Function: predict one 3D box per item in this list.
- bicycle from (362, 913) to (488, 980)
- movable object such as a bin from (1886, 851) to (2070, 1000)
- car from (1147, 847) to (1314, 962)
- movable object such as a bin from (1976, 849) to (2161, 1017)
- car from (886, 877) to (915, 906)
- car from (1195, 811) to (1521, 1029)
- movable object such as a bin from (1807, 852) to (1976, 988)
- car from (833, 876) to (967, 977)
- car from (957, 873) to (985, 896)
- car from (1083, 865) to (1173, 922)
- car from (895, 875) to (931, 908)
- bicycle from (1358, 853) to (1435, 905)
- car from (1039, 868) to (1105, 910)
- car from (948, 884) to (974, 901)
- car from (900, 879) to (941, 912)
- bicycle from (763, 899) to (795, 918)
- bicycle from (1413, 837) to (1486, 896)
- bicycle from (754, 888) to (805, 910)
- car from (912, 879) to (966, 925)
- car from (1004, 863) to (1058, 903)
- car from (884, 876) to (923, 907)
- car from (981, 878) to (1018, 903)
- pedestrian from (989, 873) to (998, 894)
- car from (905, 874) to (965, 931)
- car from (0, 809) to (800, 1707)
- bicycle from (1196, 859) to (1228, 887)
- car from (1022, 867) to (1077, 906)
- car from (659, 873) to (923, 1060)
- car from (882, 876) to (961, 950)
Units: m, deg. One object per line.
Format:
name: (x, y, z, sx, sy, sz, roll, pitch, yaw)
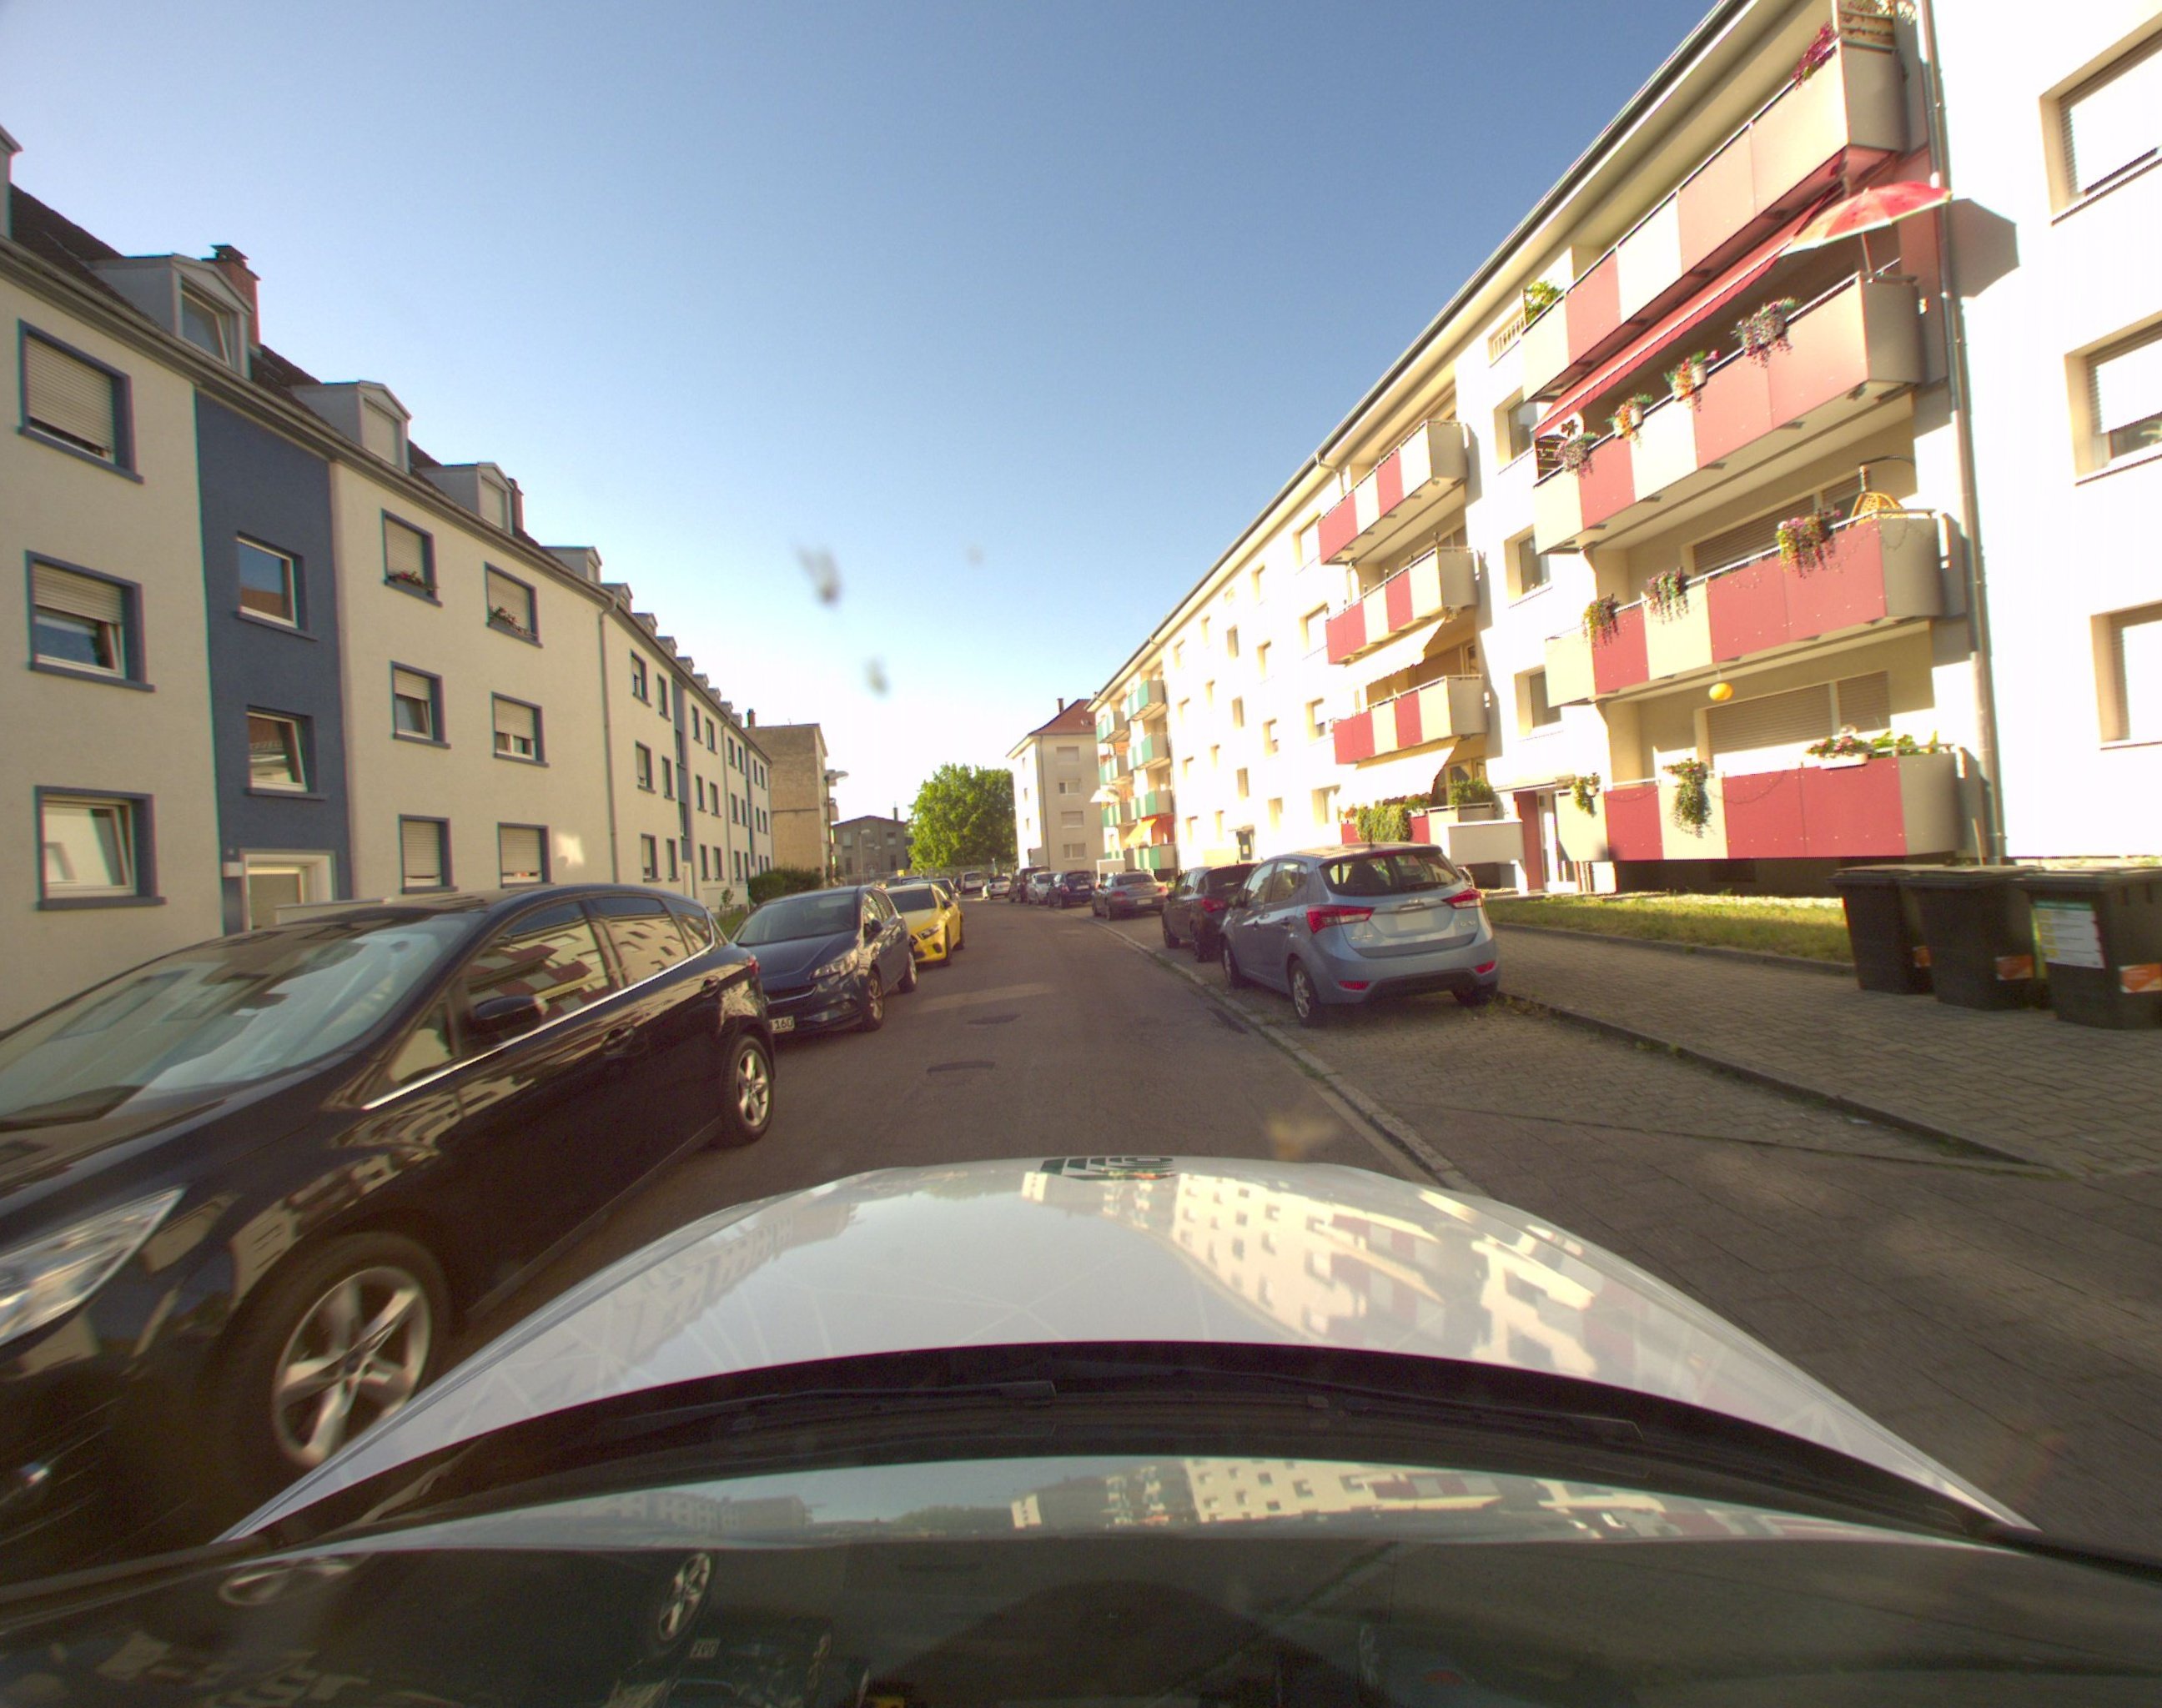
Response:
bicycle: (-11.568, 1.627, 14.379, 1.812, 1.078, 0.569, -2, -1, 3)
movable object such as a bin: (6.023, 0.463, 5.493, 0.583, 0.899, 0.517, -6, -2, -5)
car: (2.374, 0.802, 14.003, 1.733, 1.508, 3.878, -7, -1, -5)
movable object such as a bin: (6.079, 0.448, 4.902, 0.583, 0.888, 0.640, -6, -2, -5)
car: (-14.731, 3.066, 66.371, 1.997, 2.013, 4.430, -5, -2, -15)
car: (2.616, 0.581, 8.833, 1.763, 1.635, 4.034, -6, -1, -5)
movable object such as a bin: (6.003, 0.476, 6.060, 0.583, 0.900, 0.584, -6, -2, -5)
car: (-3.111, 1.179, 14.793, 1.691, 1.389, 4.149, -5, -1, -5)
car: (-9.344, 2.599, 68.952, 1.769, 1.739, 4.073, -5, -2, -15)
car: (1.300, 1.146, 24.439, 1.685, 1.363, 4.225, -6, -1, -9)
car: (-10.608, 2.374, 51.263, 1.900, 1.855, 4.173, -4, -2, -15)
bicycle: (6.689, 0.510, 17.361, 0.617, 0.978, 1.891, -7, 0, -7)
car: (-0.443, 1.445, 33.518, 1.740, 1.431, 4.336, -6, -2, -13)
car: (-10.881, 3.481, 73.697, 1.769, 1.362, 4.073, -5, -2, -15)
car: (-8.177, 2.103, 41.338, 1.662, 1.443, 3.851, -5, -2, -15)
bicycle: (-17.916, 3.249, 48.334, 1.649, 0.936, 0.545, -6, -2, -13)
bicycle: (7.733, 0.282, 17.168, 0.407, 1.150, 1.757, -6, -2, -8)
bicycle: (-16.969, 2.518, 45.880, 2.679, 1.130, 0.768, -1, -2, -22)
car: (-5.357, 1.774, 30.888, 1.744, 1.431, 4.582, -6, -1, -10)
car: (-2.714, 1.593, 43.166, 1.901, 1.855, 4.319, -4, -2, -16)
car: (-10.158, 2.143, 46.452, 1.836, 1.515, 3.978, -5, -2, -15)
car: (-5.405, 2.355, 53.346, 1.720, 1.364, 4.034, -5, 0, -14)
pedestrian: (-8.062, 2.720, 74.940, 0.653, 1.815, 0.613, -6, -2, -5)
car: (-4.503, 1.485, 25.577, 1.477, 1.477, 3.622, -8, -1, -7)
car: (-2.765, 0.826, 3.265, 1.689, 1.560, 4.155, -7, -1, -1)
bicycle: (5.453, 0.795, 33.964, 0.650, 1.068, 1.726, -8, 0, -11)
car: (-1.534, 1.542, 38.153, 1.684, 1.588, 3.992, -5, -1, -14)
car: (-2.925, 1.027, 9.157, 1.691, 1.445, 4.013, -5, -1, -5)
car: (-3.822, 1.354, 20.090, 1.568, 1.464, 4.249, -6, -1, -8)
